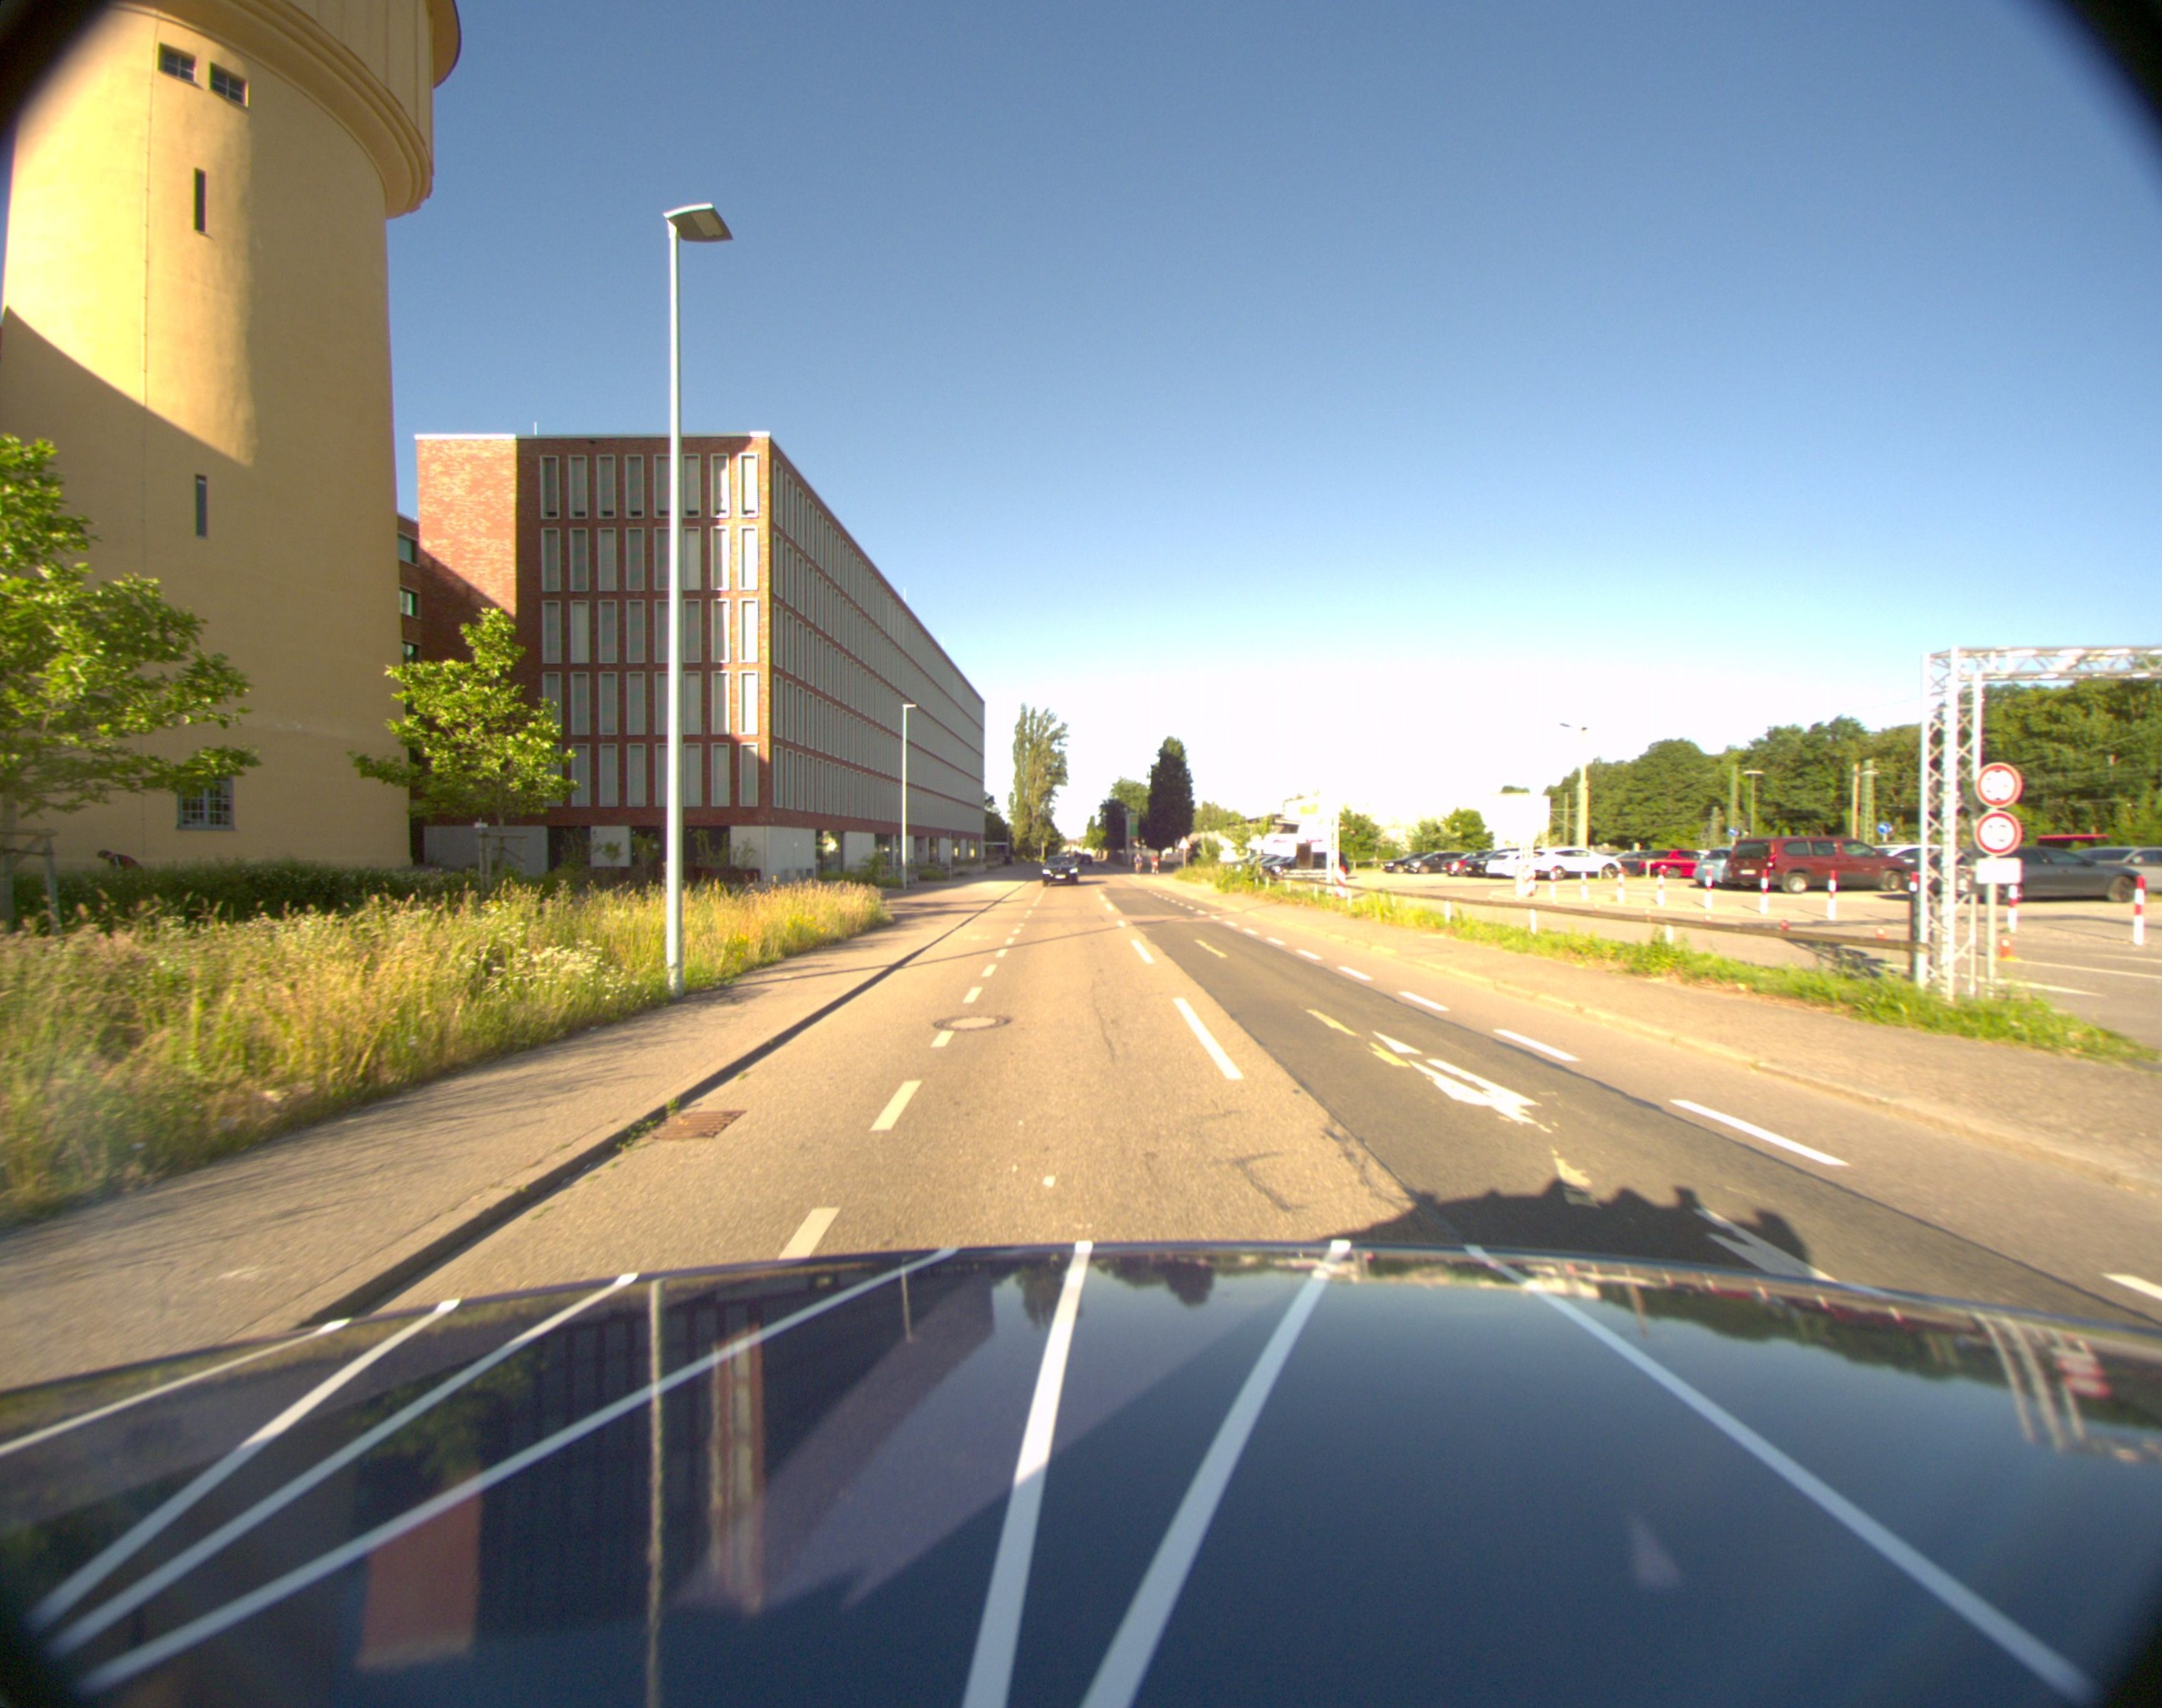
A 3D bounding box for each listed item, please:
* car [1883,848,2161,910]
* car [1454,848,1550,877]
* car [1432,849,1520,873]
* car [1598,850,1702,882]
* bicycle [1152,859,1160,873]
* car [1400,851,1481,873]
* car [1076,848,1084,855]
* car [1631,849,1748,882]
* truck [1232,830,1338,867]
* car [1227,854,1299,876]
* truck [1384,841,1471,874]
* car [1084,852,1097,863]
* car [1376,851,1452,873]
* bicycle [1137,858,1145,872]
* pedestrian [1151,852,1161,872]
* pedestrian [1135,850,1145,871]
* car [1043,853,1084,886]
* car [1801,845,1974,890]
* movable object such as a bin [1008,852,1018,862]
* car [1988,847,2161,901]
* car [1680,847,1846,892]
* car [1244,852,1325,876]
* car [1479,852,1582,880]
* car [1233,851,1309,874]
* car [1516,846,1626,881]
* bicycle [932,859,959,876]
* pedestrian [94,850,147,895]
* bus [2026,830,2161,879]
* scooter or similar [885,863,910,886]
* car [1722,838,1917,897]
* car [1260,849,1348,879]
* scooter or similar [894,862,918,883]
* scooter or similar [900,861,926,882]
[{"bbox_3d":[24.110,0.626,19.620,4.587,1.472,1.991,-1,0,2],"label":"car"},{"bbox_3d":[23.156,0.454,41.893,4.172,1.569,2.047,0,1,-4],"label":"car"},{"bbox_3d":[23.295,0.402,44.936,4.172,1.389,2.047,0,1,-4],"label":"car"},{"bbox_3d":[29.212,0.604,39.075,3.998,1.540,1.913,-1,0,-4],"label":"car"},{"bbox_3d":[6.387,0.976,64.557,0.471,1.142,1.869,-2,1,-1],"label":"bicycle"},{"bbox_3d":[23.665,0.513,50.168,4.415,1.457,2.047,0,1,-4],"label":"car"},{"bbox_3d":[-0.305,-0.694,186.508,1.745,1.517,4.110,4,0,-1],"label":"car"},{"bbox_3d":[29.392,0.541,36.762,4.172,1.521,1.965,0,1,-4],"label":"car"},{"bbox_3d":[20.716,-0.585,77.434,10.125,3.594,2.775,-1,2,-2],"label":"truck"},{"bbox_3d":[12.485,0.735,52.311,4.439,1.453,2.048,0,1,0],"label":"car"},{"bbox_3d":[30.171,0.266,66.303,6.513,2.791,2.315,0,1,-2],"label":"truck"},{"bbox_3d":[1.267,0.450,102.197,1.658,1.495,3.999,1,1,0],"label":"car"},{"bbox_3d":[23.118,0.546,52.892,4.415,1.457,2.047,0,1,-4],"label":"car"},{"bbox_3d":[5.102,0.933,65.081,0.447,1.142,2.200,-2,1,-1],"label":"bicycle"},{"bbox_3d":[6.372,0.664,64.340,0.722,1.711,1.057,0,1,-1],"label":"pedestrian"},{"bbox_3d":[5.067,0.541,65.019,0.722,1.711,1.057,0,1,-1],"label":"pedestrian"},{"bbox_3d":[-0.949,0.853,42.785,1.998,1.608,4.000,-3,1,2],"label":"car"},{"bbox_3d":[29.412,0.477,27.815,4.378,1.536,1.857,-1,0,0],"label":"car"},{"bbox_3d":[-8.565,0.367,96.144,1.131,1.328,1.345,0,1,-2],"label":"movable object such as a bin"},{"bbox_3d":[29.164,0.541,21.861,3.998,1.457,1.894,-1,0,-2],"label":"car"},{"bbox_3d":[24.612,0.548,27.532,4.378,1.536,1.857,-1,0,0],"label":"car"},{"bbox_3d":[12.409,0.584,46.477,4.439,1.453,2.048,0,1,0],"label":"car"},{"bbox_3d":[23.281,0.622,39.454,4.172,1.389,2.047,0,1,-4],"label":"car"},{"bbox_3d":[12.222,0.534,49.064,4.439,1.453,2.048,0,1,0],"label":"car"},{"bbox_3d":[23.775,0.437,36.965,4.172,1.652,1.965,0,1,-4],"label":"car"},{"bbox_3d":[-9.880,0.972,55.355,1.938,1.163,0.375,1,1,-7],"label":"bicycle"},{"bbox_3d":[-25.420,0.481,20.118,0.755,1.129,0.818,2,1,34],"label":"pedestrian"},{"bbox_3d":[52.201,0.014,37.834,2.545,2.334,6.204,0,0,1],"label":"bus"},{"bbox_3d":[-9.770,1.069,40.420,1.246,1.188,0.340,0,1,4],"label":"scooter or similar"},{"bbox_3d":[24.032,0.414,24.843,4.588,1.794,1.857,-1,0,0],"label":"car"},{"bbox_3d":[12.720,0.565,43.507,4.439,1.660,2.048,0,1,0],"label":"car"},{"bbox_3d":[-9.681,1.037,42.069,1.246,1.149,0.366,0,1,4],"label":"scooter or similar"},{"bbox_3d":[-9.657,1.004,43.682,1.343,1.238,0.424,0,1,4],"label":"scooter or similar"}]
